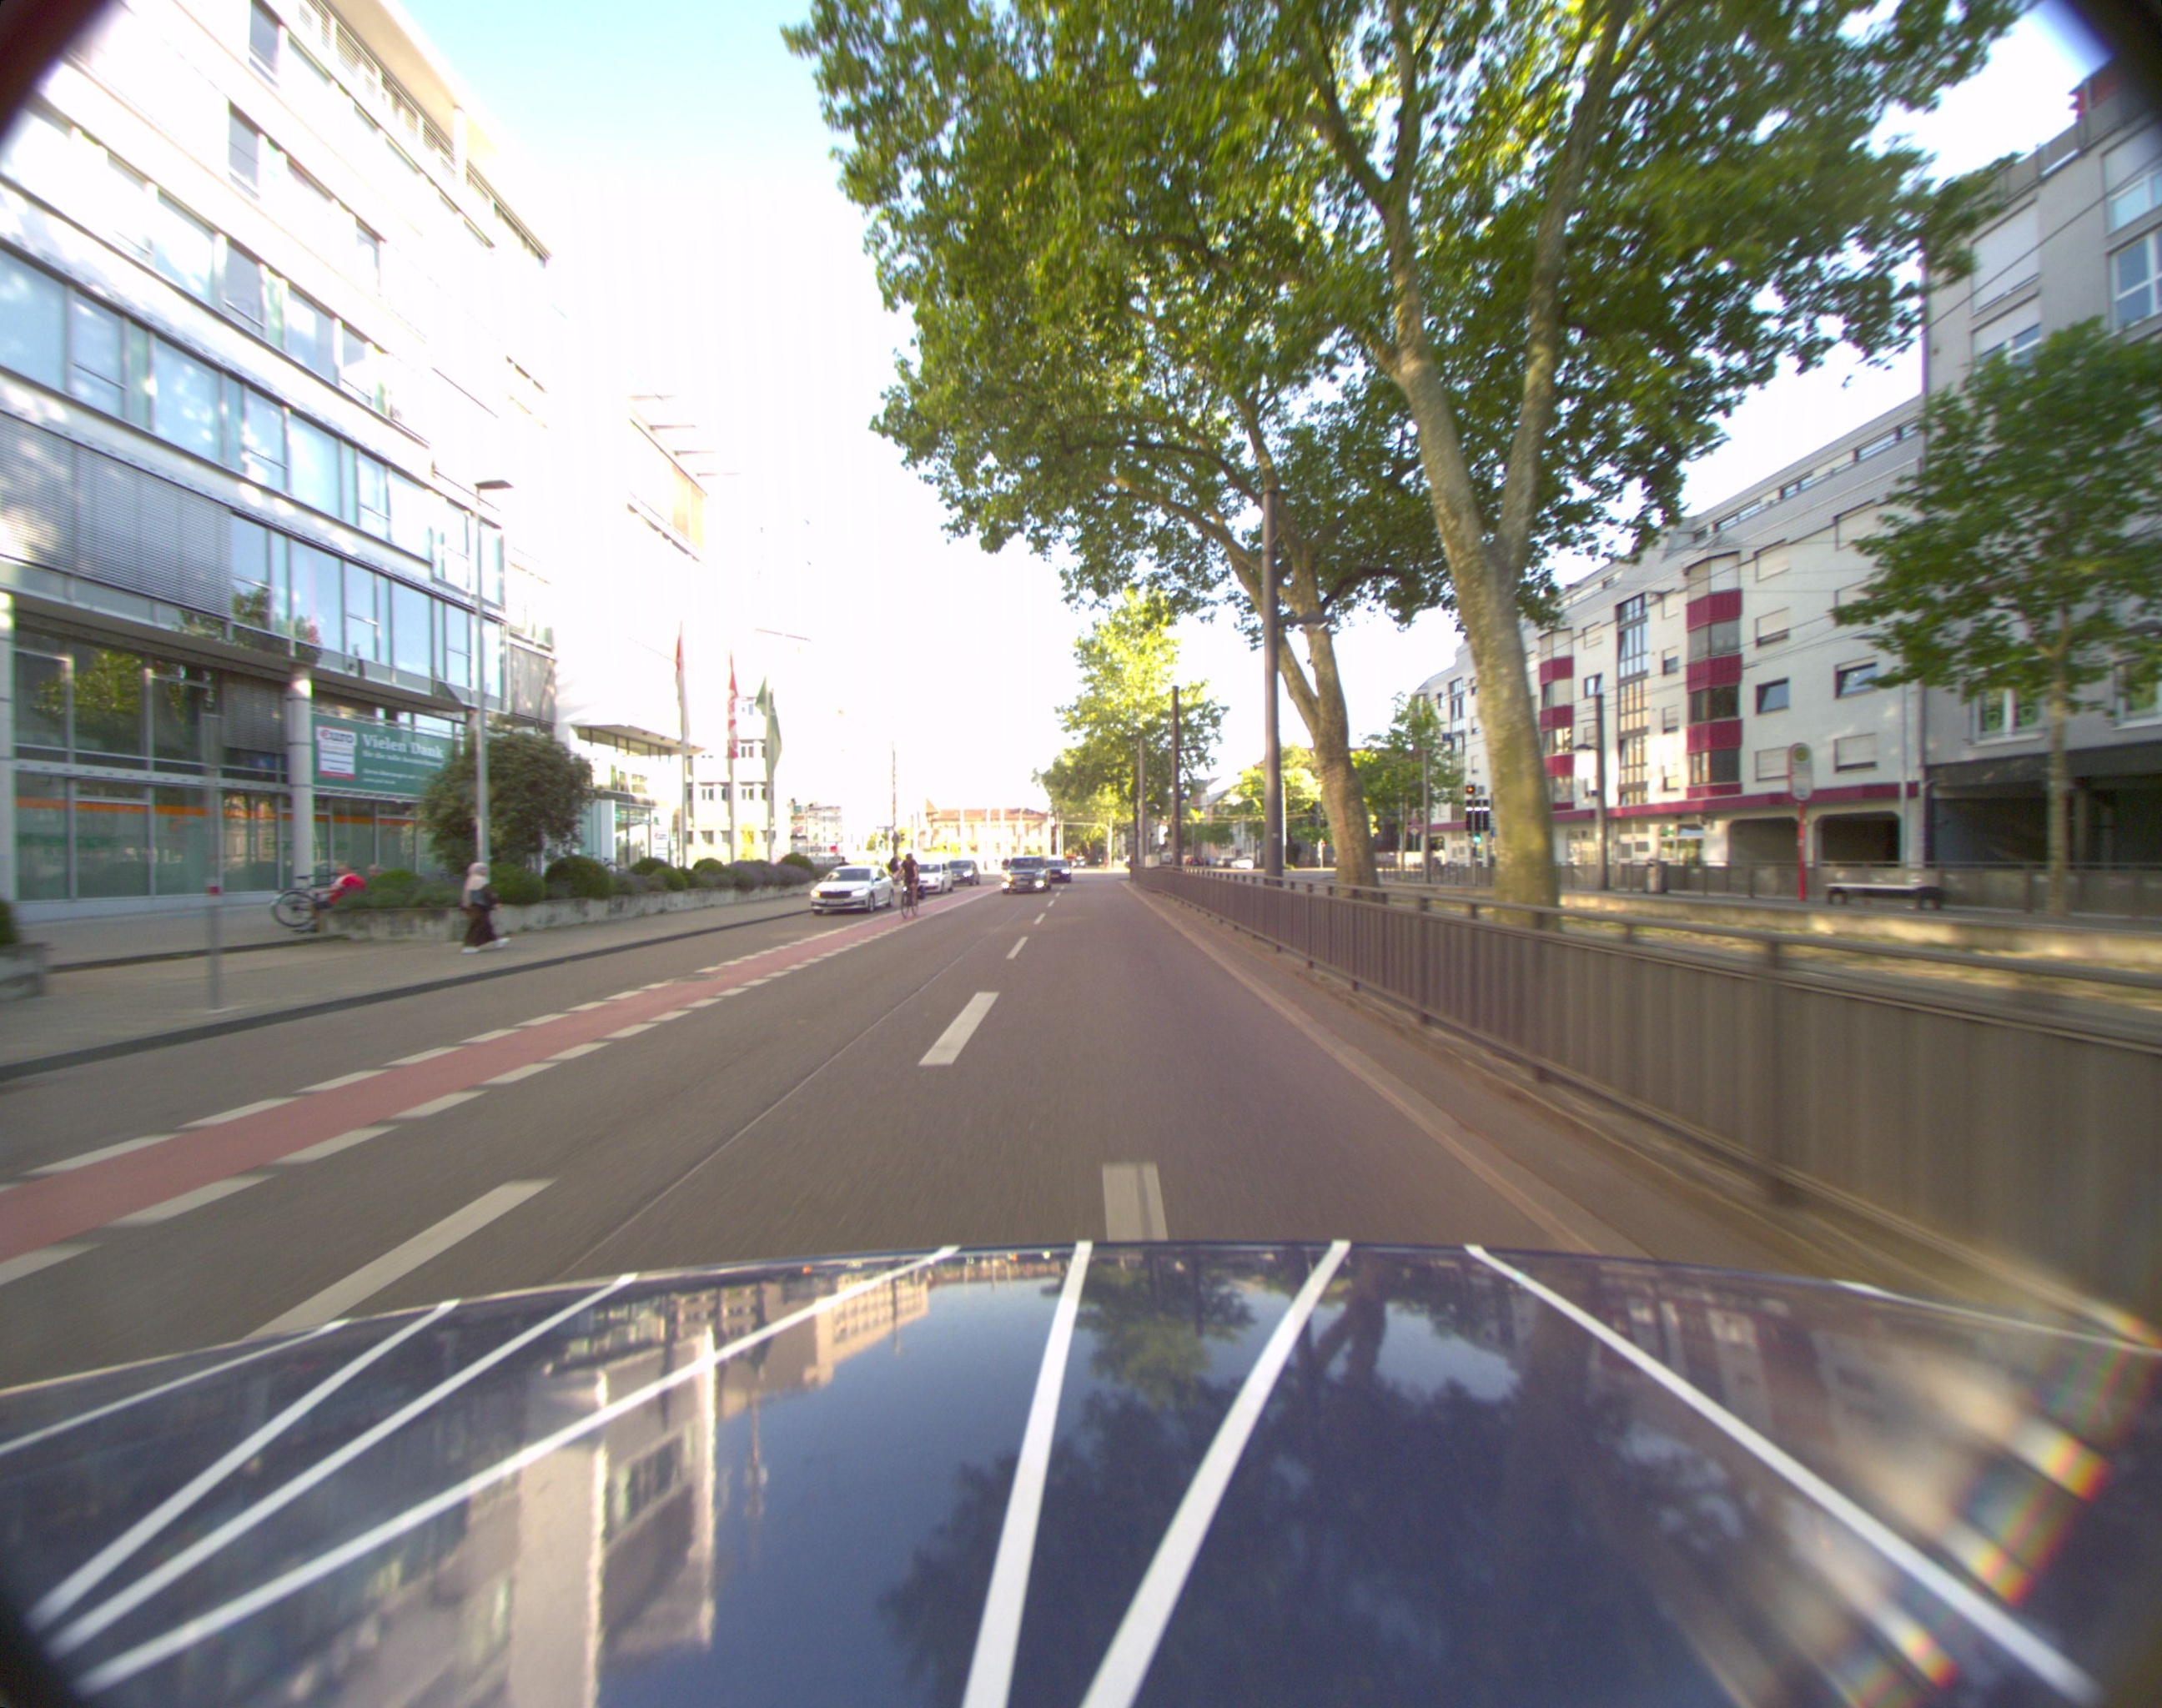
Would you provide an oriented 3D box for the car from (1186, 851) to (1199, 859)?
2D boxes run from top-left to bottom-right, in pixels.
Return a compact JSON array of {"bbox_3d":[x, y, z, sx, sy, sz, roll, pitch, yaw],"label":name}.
[{"bbox_3d":[21.499,0.219,146.104,1.895,1.470,4.000,-1,0,0],"label":"car"}]

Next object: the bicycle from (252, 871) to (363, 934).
[{"bbox_3d":[-15.458,0.939,15.238,0.534,1.155,1.611,-1,0,1],"label":"bicycle"}]

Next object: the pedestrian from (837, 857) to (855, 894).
[{"bbox_3d":[-9.937,0.903,32.174,0.527,1.573,0.589,2,1,1],"label":"pedestrian"}]

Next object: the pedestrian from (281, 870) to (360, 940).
[{"bbox_3d":[-14.239,0.937,14.249,0.752,1.264,0.693,-1,1,-4],"label":"pedestrian"}]

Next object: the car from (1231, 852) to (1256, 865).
[{"bbox_3d":[18.908,0.541,88.519,1.998,1.455,4.000,-1,0,0],"label":"car"}]

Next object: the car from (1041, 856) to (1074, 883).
[{"bbox_3d":[-1.375,0.894,45.204,1.827,1.416,4.345,-2,0,-1],"label":"car"}]

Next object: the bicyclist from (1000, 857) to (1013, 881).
[{"bbox_3d":[-4.423,0.874,45.274,0.685,1.372,0.867,-1,1,0],"label":"bicyclist"}]

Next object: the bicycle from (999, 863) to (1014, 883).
[{"bbox_3d":[-4.456,1.132,45.373,0.666,1.118,1.874,-1,0,0],"label":"bicycle"}]

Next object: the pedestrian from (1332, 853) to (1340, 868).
[{"bbox_3d":[28.123,0.716,83.935,0.602,1.694,0.670,-1,2,39],"label":"pedestrian"}]

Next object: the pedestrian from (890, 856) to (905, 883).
[{"bbox_3d":[-10.859,0.889,44.922,0.693,1.573,0.664,2,1,1],"label":"pedestrian"}]

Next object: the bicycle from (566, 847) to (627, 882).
[{"bbox_3d":[-20.384,0.436,31.945,2.425,1.419,0.758,-1,1,18],"label":"bicycle"}]

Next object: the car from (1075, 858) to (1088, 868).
[{"bbox_3d":[0.008,1.438,117.558,1.827,1.416,4.345,-2,0,-1],"label":"car"}]

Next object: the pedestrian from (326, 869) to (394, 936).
[{"bbox_3d":[-14.209,0.949,14.981,0.785,1.264,0.543,-1,1,-4],"label":"pedestrian"}]

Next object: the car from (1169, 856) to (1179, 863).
[{"bbox_3d":[21.508,1.359,176.011,1.895,1.552,4.000,-1,0,0],"label":"car"}]

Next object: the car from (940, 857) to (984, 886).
[{"bbox_3d":[-6.990,0.989,45.016,1.998,1.586,4.000,-1,0,0],"label":"car"}]

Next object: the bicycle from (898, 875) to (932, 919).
[{"bbox_3d":[-4.611,1.169,21.213,0.551,1.114,2.126,0,0,-2],"label":"bicycle"}]

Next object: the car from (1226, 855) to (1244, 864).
[{"bbox_3d":[22.717,0.843,112.011,1.895,1.259,4.000,-1,0,0],"label":"car"}]

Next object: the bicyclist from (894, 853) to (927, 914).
[{"bbox_3d":[-4.757,0.816,21.220,0.752,1.678,0.714,0,1,-1],"label":"bicyclist"}]

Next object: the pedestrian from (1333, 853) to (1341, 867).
[{"bbox_3d":[28.292,0.665,83.980,0.589,1.498,0.650,0,1,41],"label":"pedestrian"}]

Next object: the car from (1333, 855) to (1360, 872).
[{"bbox_3d":[21.843,0.750,62.423,1.646,1.346,3.907,0,0,25],"label":"car"}]

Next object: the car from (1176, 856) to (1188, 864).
[{"bbox_3d":[21.864,1.269,164.608,1.895,1.552,4.000,-1,0,0],"label":"car"}]

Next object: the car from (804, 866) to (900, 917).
[{"bbox_3d":[-7.078,1.111,23.941,1.786,1.411,4.021,0,0,0],"label":"car"}]

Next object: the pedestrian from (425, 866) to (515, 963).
[{"bbox_3d":[-10.361,0.999,12.914,0.753,1.565,0.912,-1,1,3],"label":"pedestrian"}]

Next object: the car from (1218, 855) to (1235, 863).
[{"bbox_3d":[22.471,0.782,117.631,1.895,1.259,4.000,-1,0,0],"label":"car"}]

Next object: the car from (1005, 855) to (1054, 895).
[{"bbox_3d":[-2.194,0.852,33.370,1.785,1.628,4.022,0,0,1],"label":"car"}]

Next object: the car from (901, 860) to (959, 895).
[{"bbox_3d":[-6.774,1.019,34.445,1.671,1.455,3.870,0,0,3],"label":"car"}]

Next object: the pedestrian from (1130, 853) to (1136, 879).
[{"bbox_3d":[3.191,0.728,46.686,0.389,1.558,0.336,-1,1,6],"label":"pedestrian"}]
